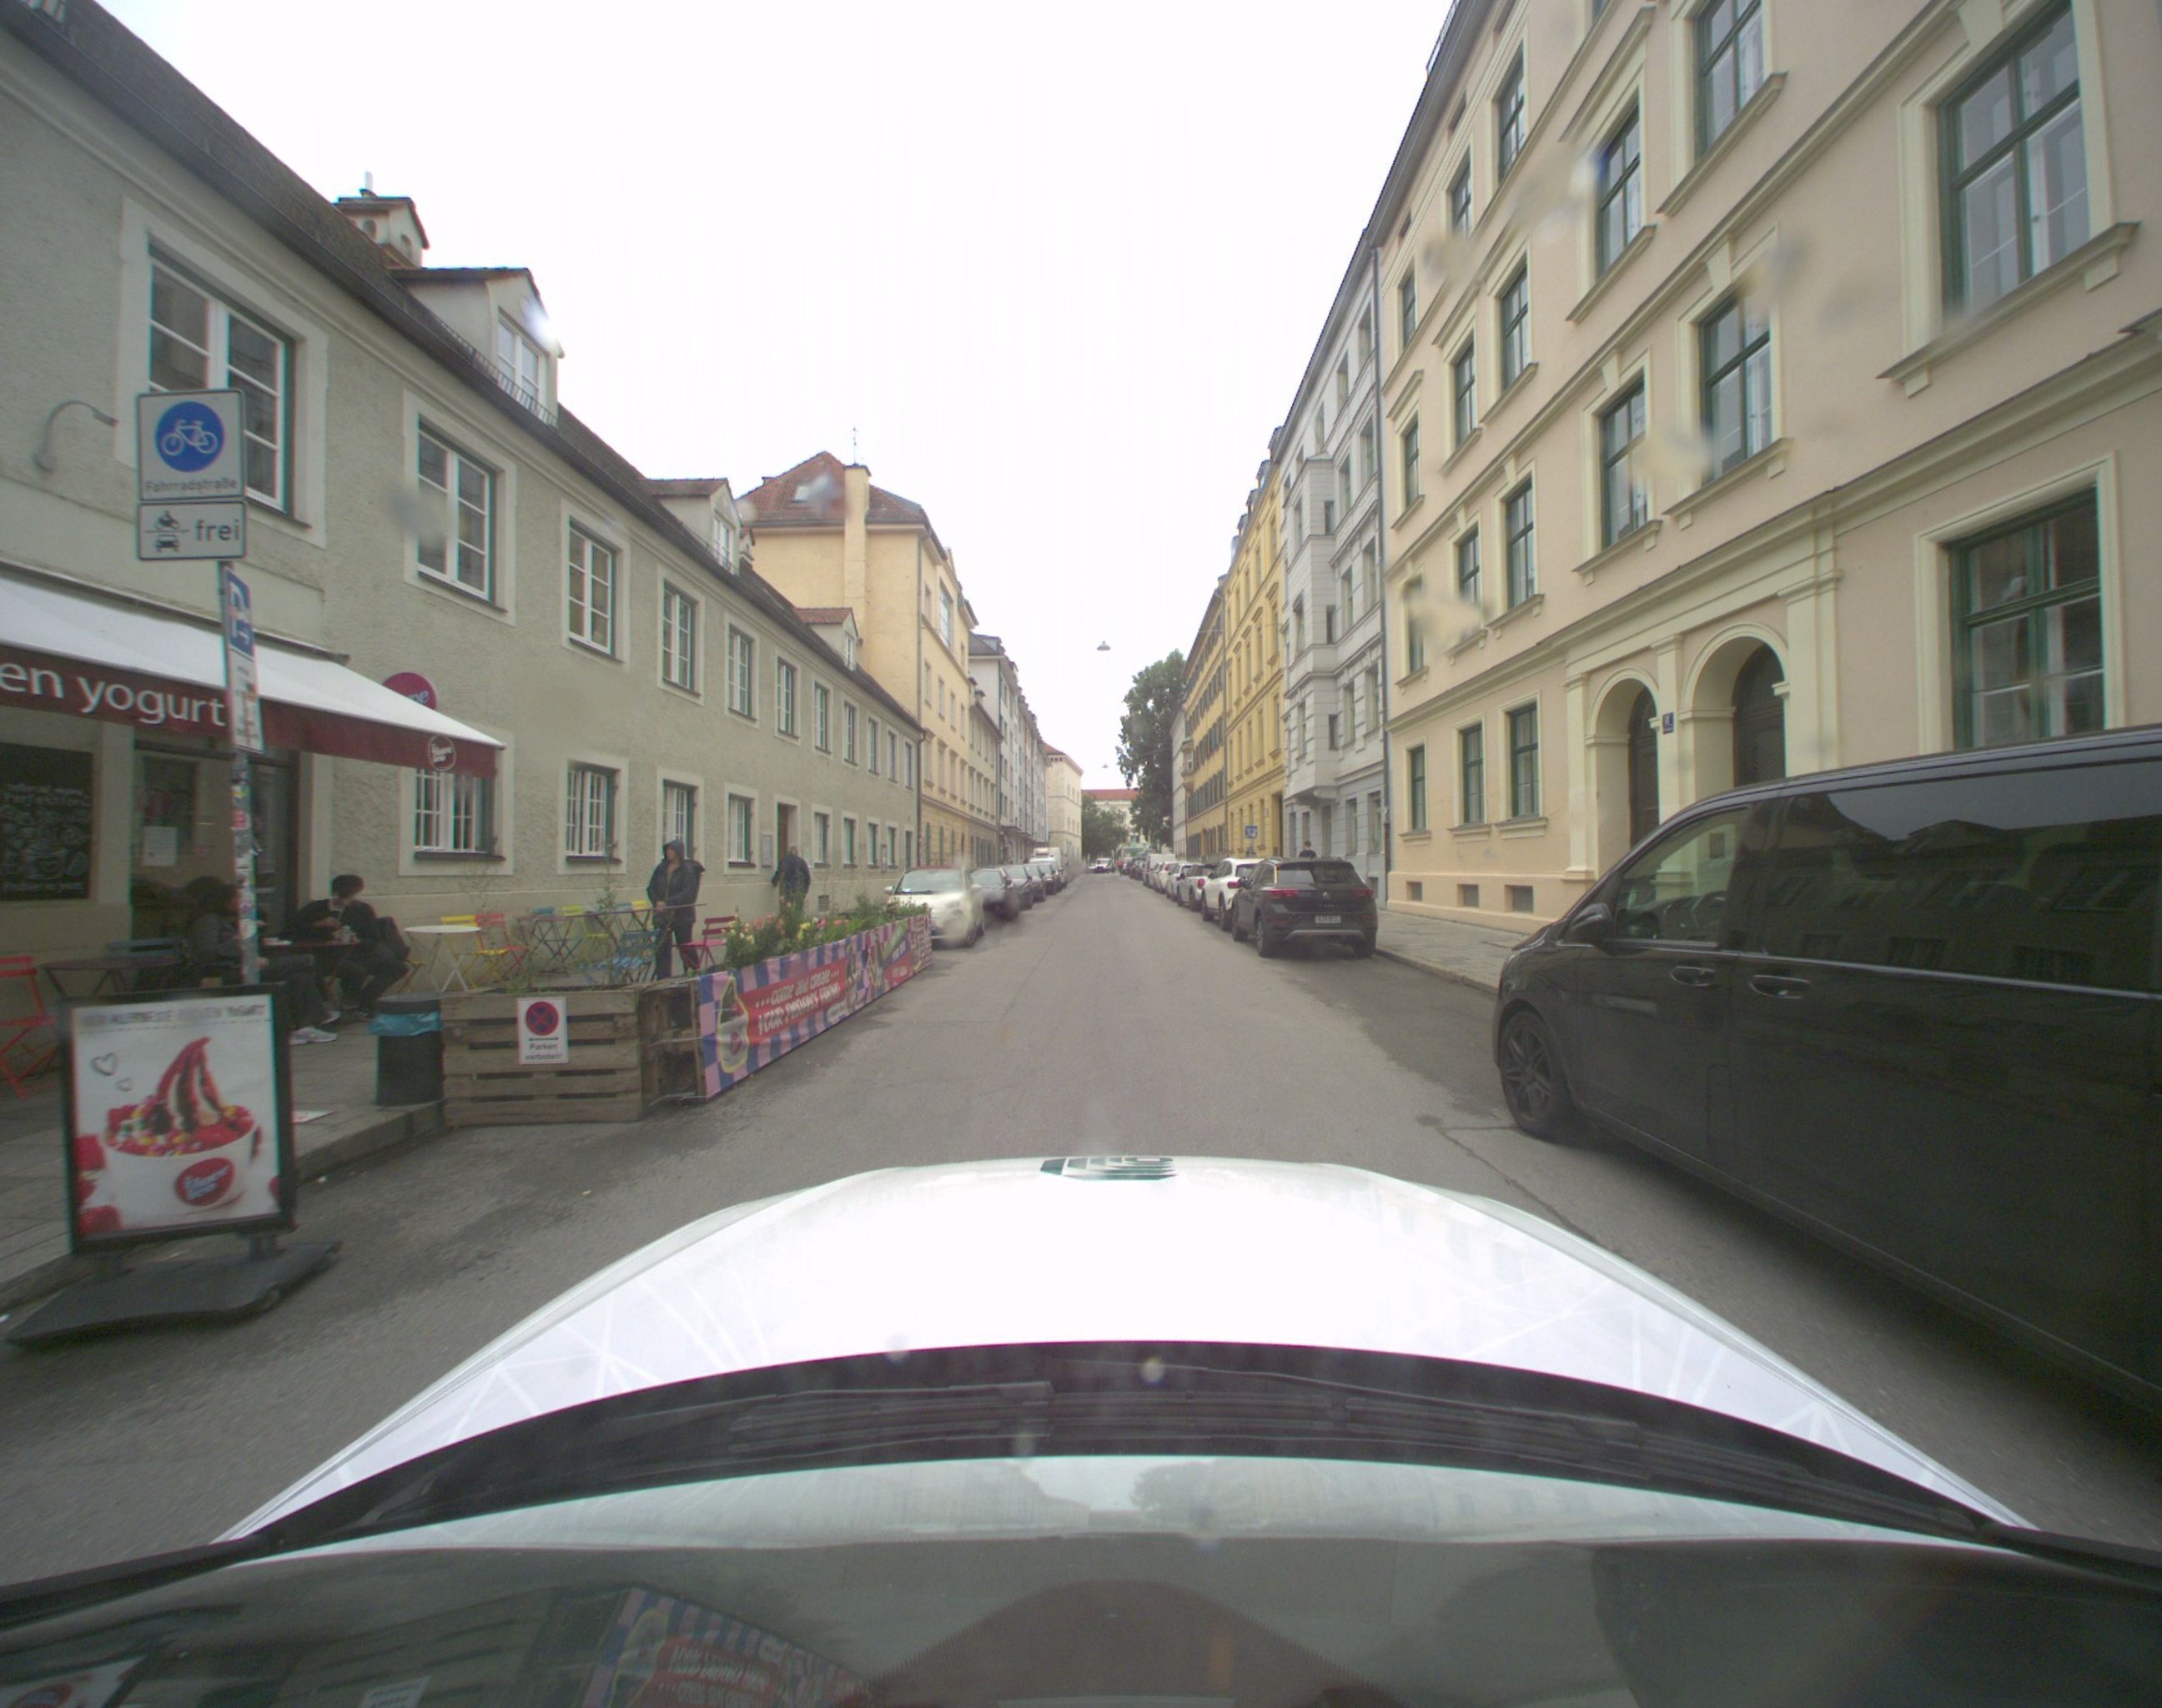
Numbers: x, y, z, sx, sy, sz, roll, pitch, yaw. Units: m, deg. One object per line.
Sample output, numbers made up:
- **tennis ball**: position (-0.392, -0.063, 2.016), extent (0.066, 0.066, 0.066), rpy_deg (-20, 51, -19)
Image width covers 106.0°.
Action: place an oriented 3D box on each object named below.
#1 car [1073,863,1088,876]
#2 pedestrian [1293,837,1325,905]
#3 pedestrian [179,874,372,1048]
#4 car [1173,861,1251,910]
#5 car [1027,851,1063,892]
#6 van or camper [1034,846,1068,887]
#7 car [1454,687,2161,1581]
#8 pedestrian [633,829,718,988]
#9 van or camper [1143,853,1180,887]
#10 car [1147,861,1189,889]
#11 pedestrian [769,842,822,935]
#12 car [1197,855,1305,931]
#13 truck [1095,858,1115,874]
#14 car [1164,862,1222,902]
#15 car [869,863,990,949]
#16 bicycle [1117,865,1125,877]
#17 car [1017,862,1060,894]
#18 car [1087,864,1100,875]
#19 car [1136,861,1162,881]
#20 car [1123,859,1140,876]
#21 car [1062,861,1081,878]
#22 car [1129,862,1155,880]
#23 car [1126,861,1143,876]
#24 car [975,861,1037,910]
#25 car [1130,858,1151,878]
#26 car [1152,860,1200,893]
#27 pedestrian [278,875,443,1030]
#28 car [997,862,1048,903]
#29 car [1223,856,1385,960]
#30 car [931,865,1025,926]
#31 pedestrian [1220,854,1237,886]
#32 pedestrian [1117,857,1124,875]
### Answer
- **car**: position (0.002, 2.034, 109.199), extent (1.699, 1.609, 3.866), rpy_deg (-2, -1, 4)
- **pedestrian**: position (6.950, 0.523, 24.869), extent (0.667, 1.980, 0.709), rpy_deg (-4, -2, 2)
- **pedestrian**: position (-6.345, 0.815, 6.457), extent (0.800, 1.290, 0.694), rpy_deg (-1, -2, 1)
- **car**: position (4.019, 0.945, 25.587), extent (1.703, 1.404, 4.205), rpy_deg (0, -1, -1)
- **car**: position (-1.864, 0.884, 42.334), extent (1.750, 1.995, 4.621), rpy_deg (0, -1, -3)
- **van or camper**: position (-1.687, 0.720, 47.540), extent (1.748, 2.281, 5.273), rpy_deg (0, -1, 1)
- **car**: position (3.301, 0.593, 2.670), extent (1.989, 1.864, 5.257), rpy_deg (0, -1, 3)
- **pedestrian**: position (-4.761, 0.622, 9.606), extent (0.526, 1.782, 0.877), rpy_deg (-1, -2, 2)
- **van or camper**: position (4.639, 0.929, 47.750), extent (1.827, 1.872, 5.080), rpy_deg (0, -1, 2)
- **car**: position (4.509, 1.074, 42.581), extent (1.703, 1.392, 4.205), rpy_deg (0, -1, -1)
- **pedestrian**: position (-5.993, 0.724, 17.123), extent (0.820, 1.898, 0.827), rpy_deg (-1, -2, 0)
- **car**: position (3.864, 0.844, 19.233), extent (1.736, 1.583, 4.468), rpy_deg (0, -1, 2)
- **truck**: position (3.515, 1.795, 119.980), extent (2.108, 2.247, 6.200), rpy_deg (-1, -2, 9)
- **car**: position (4.206, 1.031, 31.227), extent (1.701, 1.408, 4.816), rpy_deg (0, -1, 2)
- **car**: position (-2.830, 0.928, 15.980), extent (1.750, 1.475, 3.711), rpy_deg (0, -1, -2)
- **bicycle**: position (3.872, 1.682, 78.999), extent (0.673, 1.095, 1.761), rpy_deg (-1, -2, 2)
- **car**: position (-1.880, 1.067, 37.248), extent (1.749, 1.409, 4.102), rpy_deg (0, -1, 0)
- **car**: position (1.960, 2.310, 123.810), extent (1.699, 1.581, 3.867), rpy_deg (-2, -1, 4)
- **car**: position (5.209, 1.320, 62.787), extent (1.805, 1.465, 4.247), rpy_deg (1, -1, 1)
- **car**: position (5.805, 1.558, 94.345), extent (1.844, 1.920, 4.771), rpy_deg (-1, -1, 2)
- **car**: position (-0.909, 1.576, 81.334), extent (1.701, 1.609, 3.863), rpy_deg (-2, -1, 1)
- **car**: position (5.007, 1.407, 67.556), extent (1.806, 1.425, 4.245), rpy_deg (1, -1, 0)
- **car**: position (5.794, 1.595, 88.465), extent (1.805, 1.614, 4.157), rpy_deg (-1, -1, 2)
- **car**: position (-2.406, 0.987, 27.026), extent (1.749, 1.496, 4.198), rpy_deg (0, -1, -1)
- **car**: position (5.425, 1.296, 74.533), extent (1.805, 1.797, 4.248), rpy_deg (1, -1, 2)
- **car**: position (4.368, 1.032, 37.898), extent (1.703, 1.454, 4.095), rpy_deg (0, -1, -1)
- **pedestrian**: position (-6.318, 0.837, 7.181), extent (0.800, 1.290, 0.694), rpy_deg (-1, -2, 1)
- **car**: position (-2.231, 1.060, 32.057), extent (1.811, 1.441, 4.128), rpy_deg (-1, 0, -2)
- **car**: position (3.650, 0.820, 14.091), extent (1.748, 1.521, 4.276), rpy_deg (0, -1, 2)
- **car**: position (-2.542, 0.991, 21.131), extent (1.792, 1.339, 4.685), rpy_deg (0, 0, 1)
- **pedestrian**: position (7.495, 0.820, 41.330), extent (0.658, 1.571, 0.642), rpy_deg (-3, -2, 1)
- **pedestrian**: position (3.868, 1.159, 79.021), extent (0.639, 1.714, 0.843), rpy_deg (-1, -2, 2)
